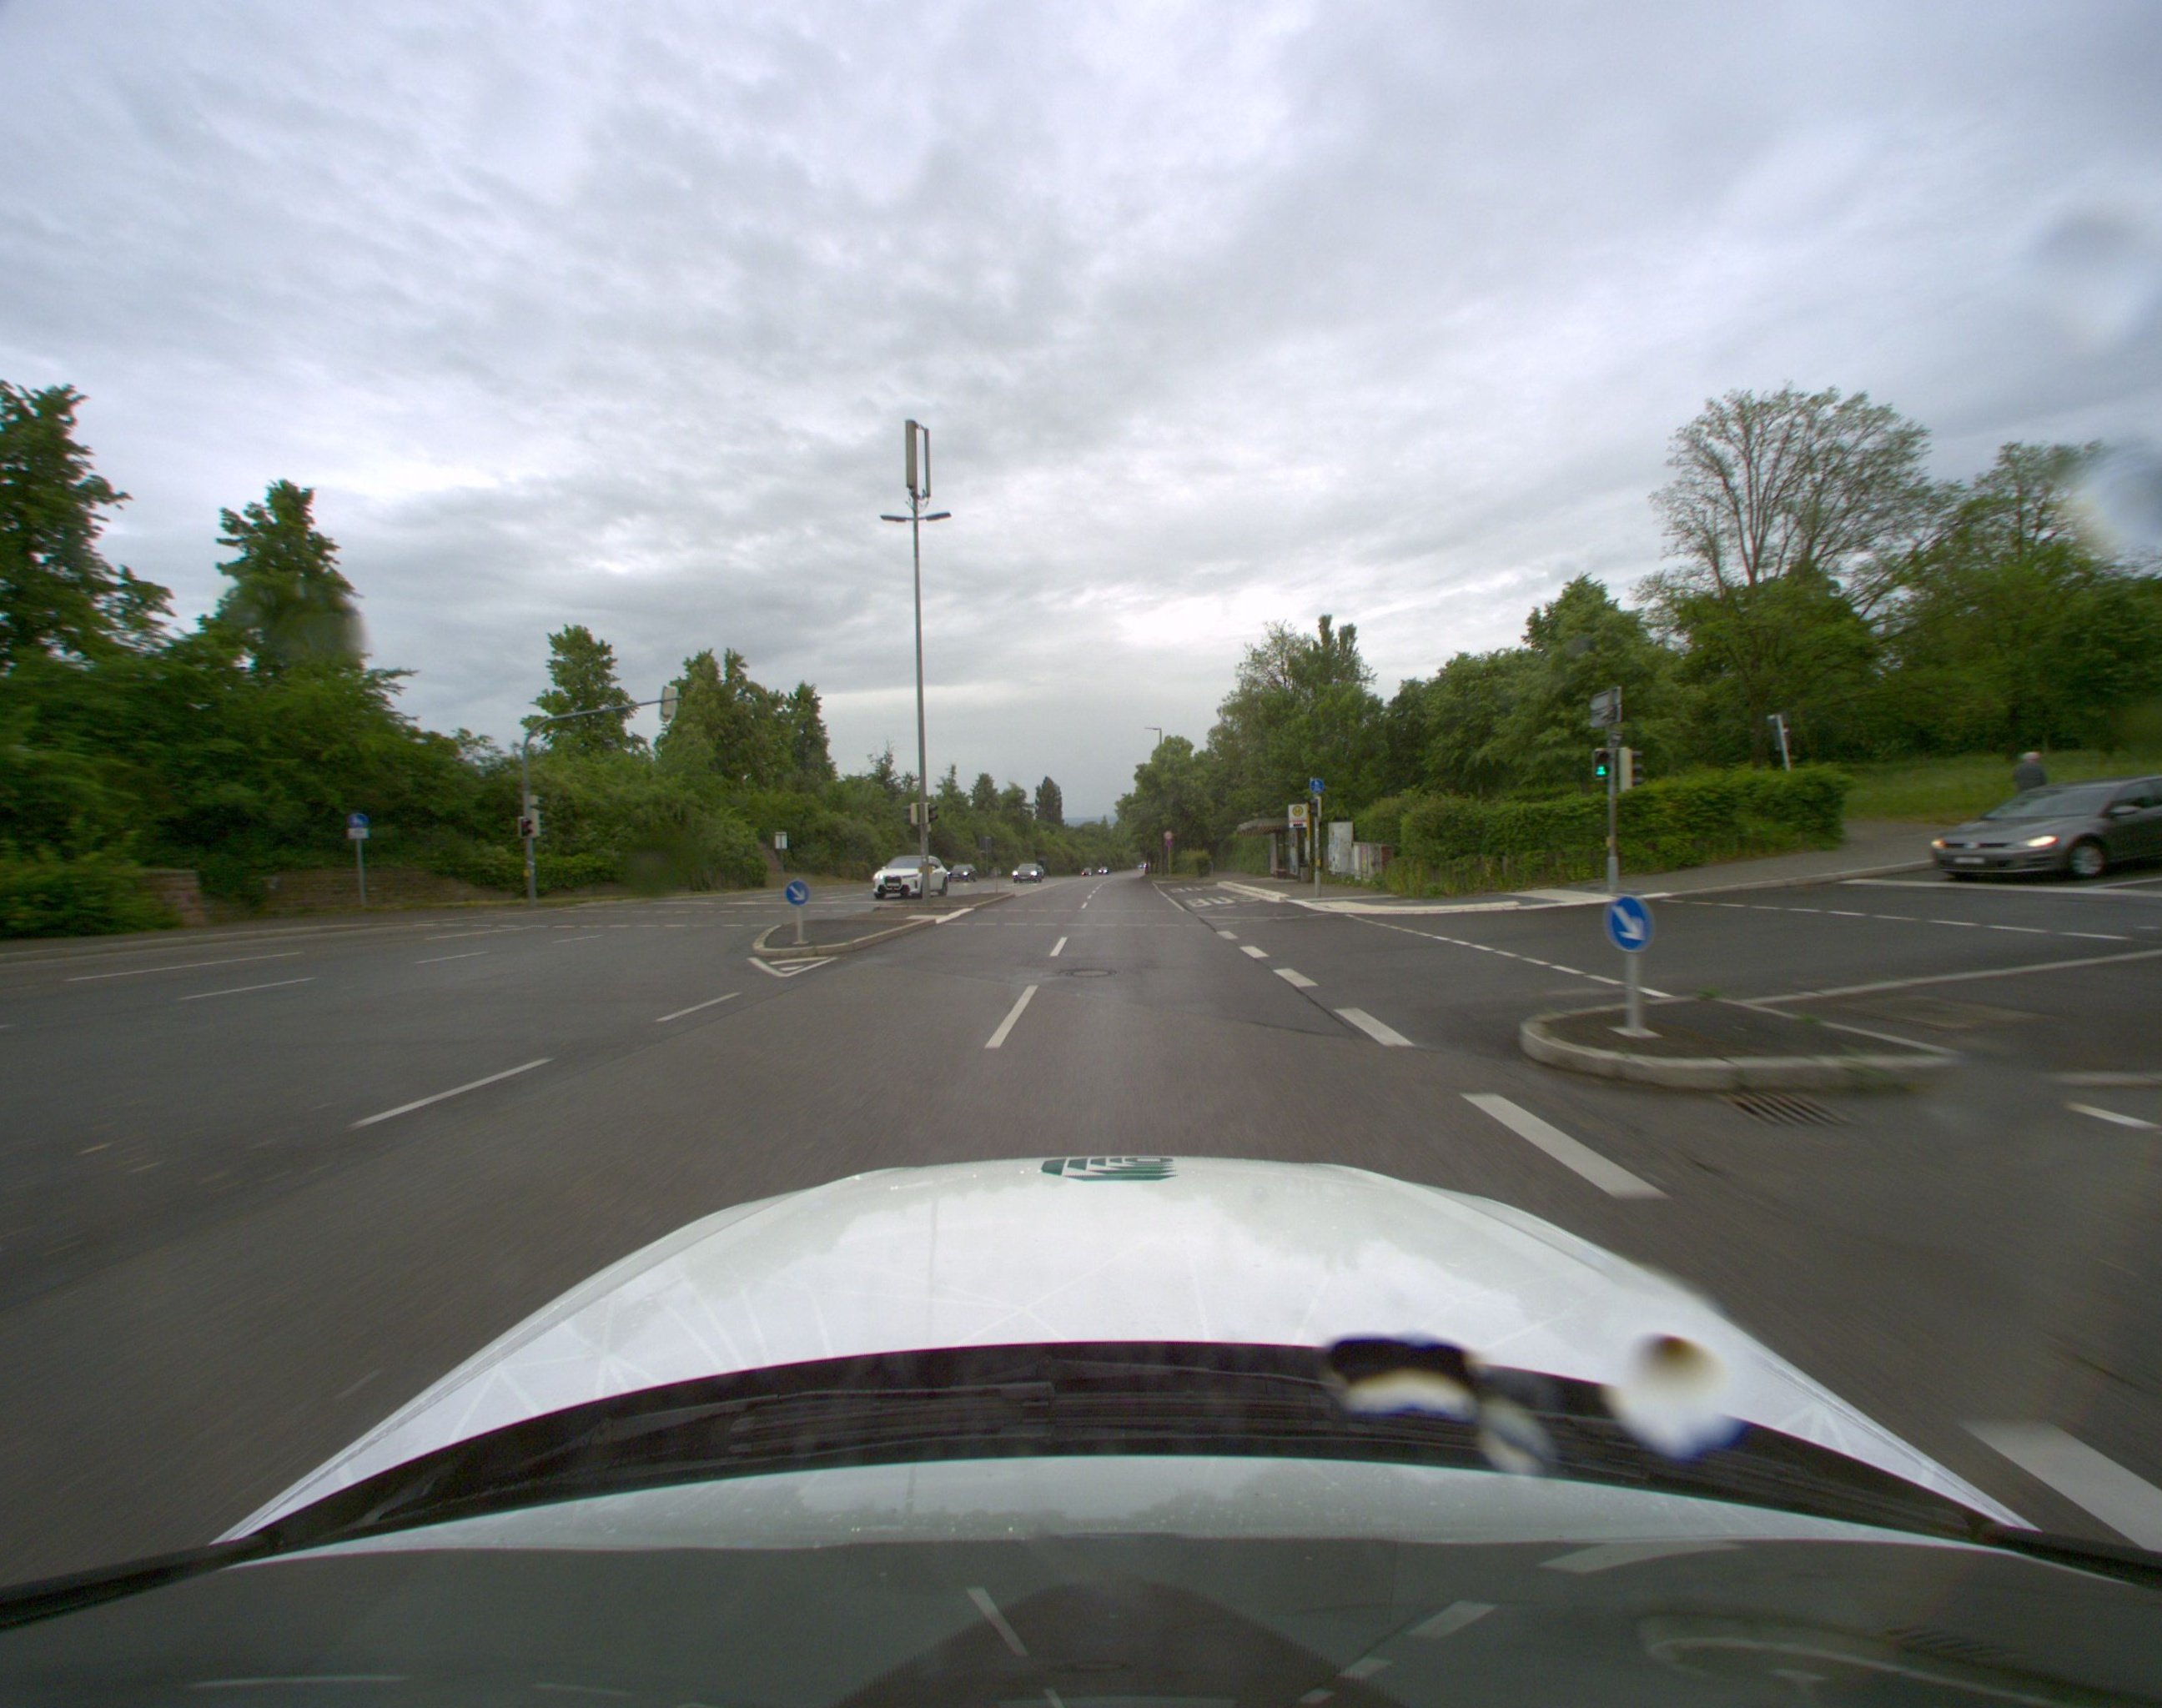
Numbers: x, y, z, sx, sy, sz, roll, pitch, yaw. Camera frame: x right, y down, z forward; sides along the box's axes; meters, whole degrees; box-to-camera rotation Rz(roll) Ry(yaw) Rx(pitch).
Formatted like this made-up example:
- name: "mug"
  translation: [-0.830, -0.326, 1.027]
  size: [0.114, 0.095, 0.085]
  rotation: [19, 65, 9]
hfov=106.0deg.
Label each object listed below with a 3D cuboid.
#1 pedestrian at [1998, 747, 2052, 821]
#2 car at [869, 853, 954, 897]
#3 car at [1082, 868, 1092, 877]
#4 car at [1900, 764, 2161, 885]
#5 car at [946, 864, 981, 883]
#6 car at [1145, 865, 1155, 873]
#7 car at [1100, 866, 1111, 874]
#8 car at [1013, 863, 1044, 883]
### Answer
- name: "pedestrian"
  translation: [21.161, -1.555, 18.252]
  size: [0.475, 1.583, 0.684]
  rotation: [-3, 1, -30]
- name: "car"
  translation: [-6.842, 0.813, 33.417]
  size: [1.935, 1.635, 5.014]
  rotation: [-1, 0, 6]
- name: "car"
  translation: [1.158, 3.467, 151.201]
  size: [1.717, 1.565, 3.896]
  rotation: [1, -1, 3]
- name: "car"
  translation: [16.403, -0.527, 13.436]
  size: [4.070, 1.453, 1.886]
  rotation: [-8, 0, -7]
- name: "car"
  translation: [-9.608, 1.581, 66.977]
  size: [1.811, 1.437, 4.461]
  rotation: [-1, 0, 5]
- name: "car"
  translation: [15.284, 3.370, 181.231]
  size: [1.933, 1.591, 3.938]
  rotation: [-1, 0, 9]
- name: "car"
  translation: [5.234, 3.450, 173.401]
  size: [1.855, 1.589, 3.899]
  rotation: [1, -1, 6]
- name: "car"
  translation: [-4.067, 1.419, 63.468]
  size: [1.770, 1.472, 4.650]
  rotation: [-1, -1, 4]
